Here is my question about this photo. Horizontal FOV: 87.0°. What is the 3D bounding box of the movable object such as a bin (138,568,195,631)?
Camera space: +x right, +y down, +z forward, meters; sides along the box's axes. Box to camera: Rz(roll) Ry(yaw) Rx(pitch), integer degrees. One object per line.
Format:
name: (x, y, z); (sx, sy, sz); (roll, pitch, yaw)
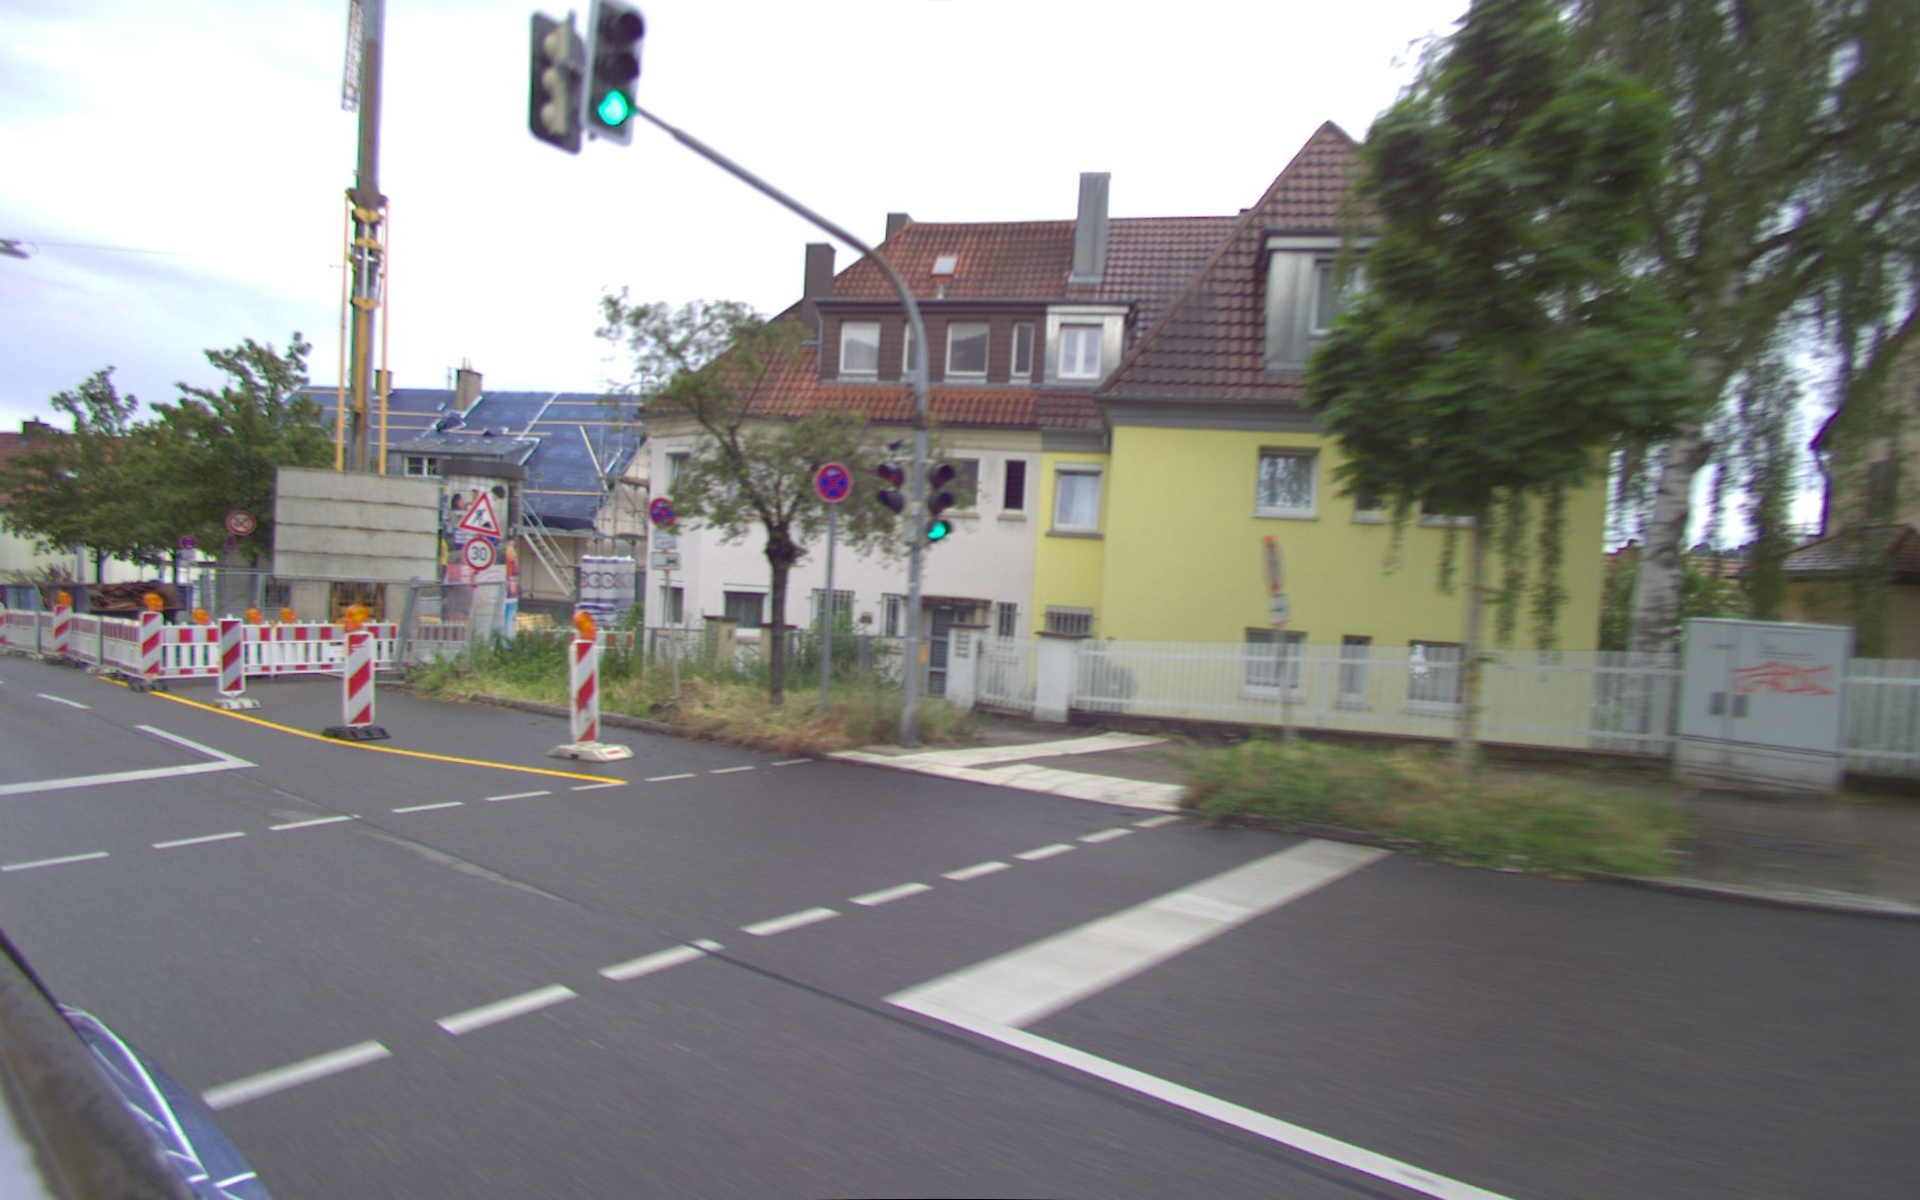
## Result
movable object such as a bin: (-32.457, -0.050, 41.413); (1.374, 2.524, 1.310); (0, 1, 17)
